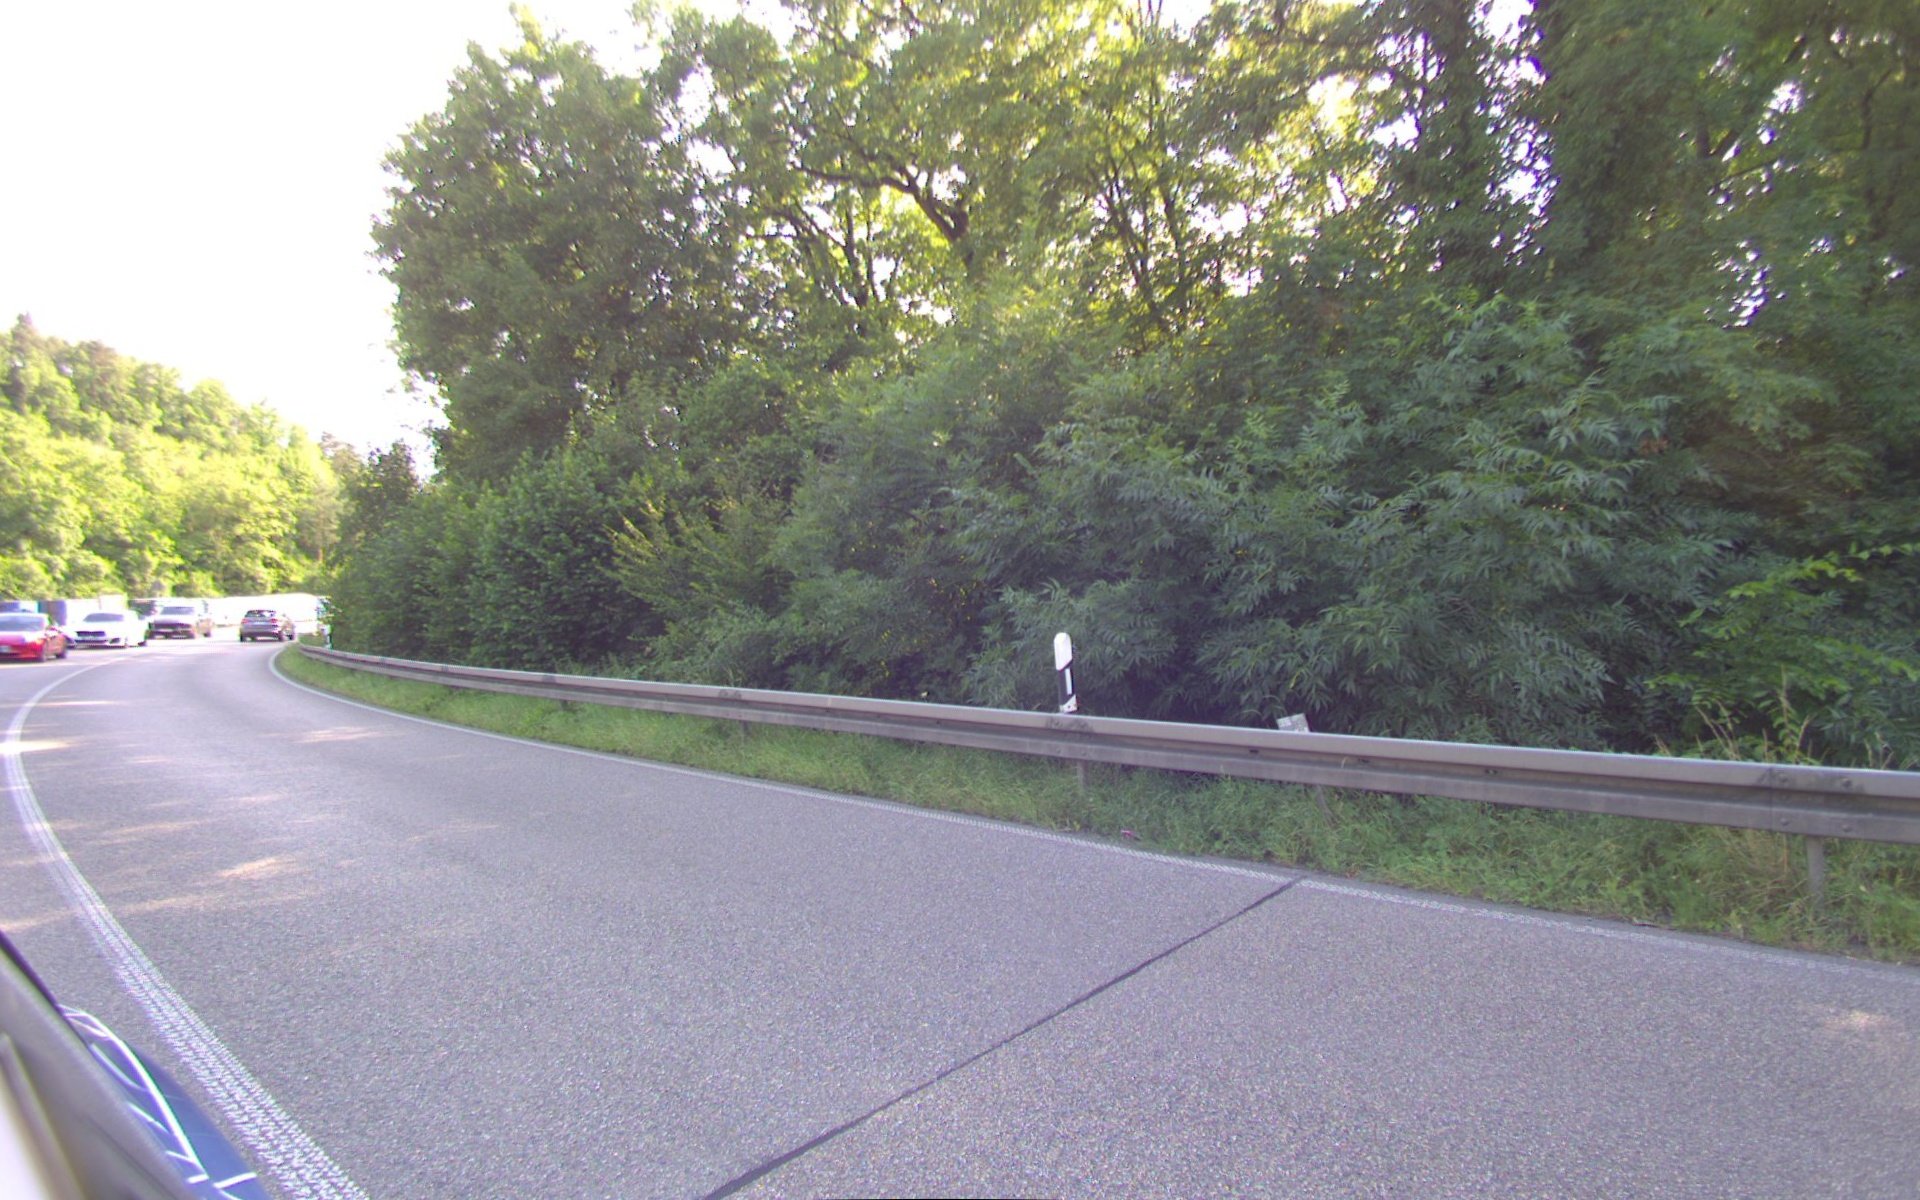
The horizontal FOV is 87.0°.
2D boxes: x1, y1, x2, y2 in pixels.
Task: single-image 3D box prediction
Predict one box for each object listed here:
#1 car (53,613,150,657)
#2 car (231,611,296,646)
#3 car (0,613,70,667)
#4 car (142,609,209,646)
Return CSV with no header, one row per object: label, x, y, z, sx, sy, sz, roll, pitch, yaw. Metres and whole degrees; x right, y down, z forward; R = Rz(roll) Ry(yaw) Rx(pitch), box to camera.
car,-33.462,1.308,39.575,1.884,1.476,4.551,-3,1,-28
car,-33.336,1.365,48.570,1.841,1.577,4.013,-1,-1,-24
car,-28.034,1.153,30.021,1.830,1.431,4.431,-1,1,-33
car,-38.607,1.294,49.912,1.829,1.608,4.551,-3,1,-28
